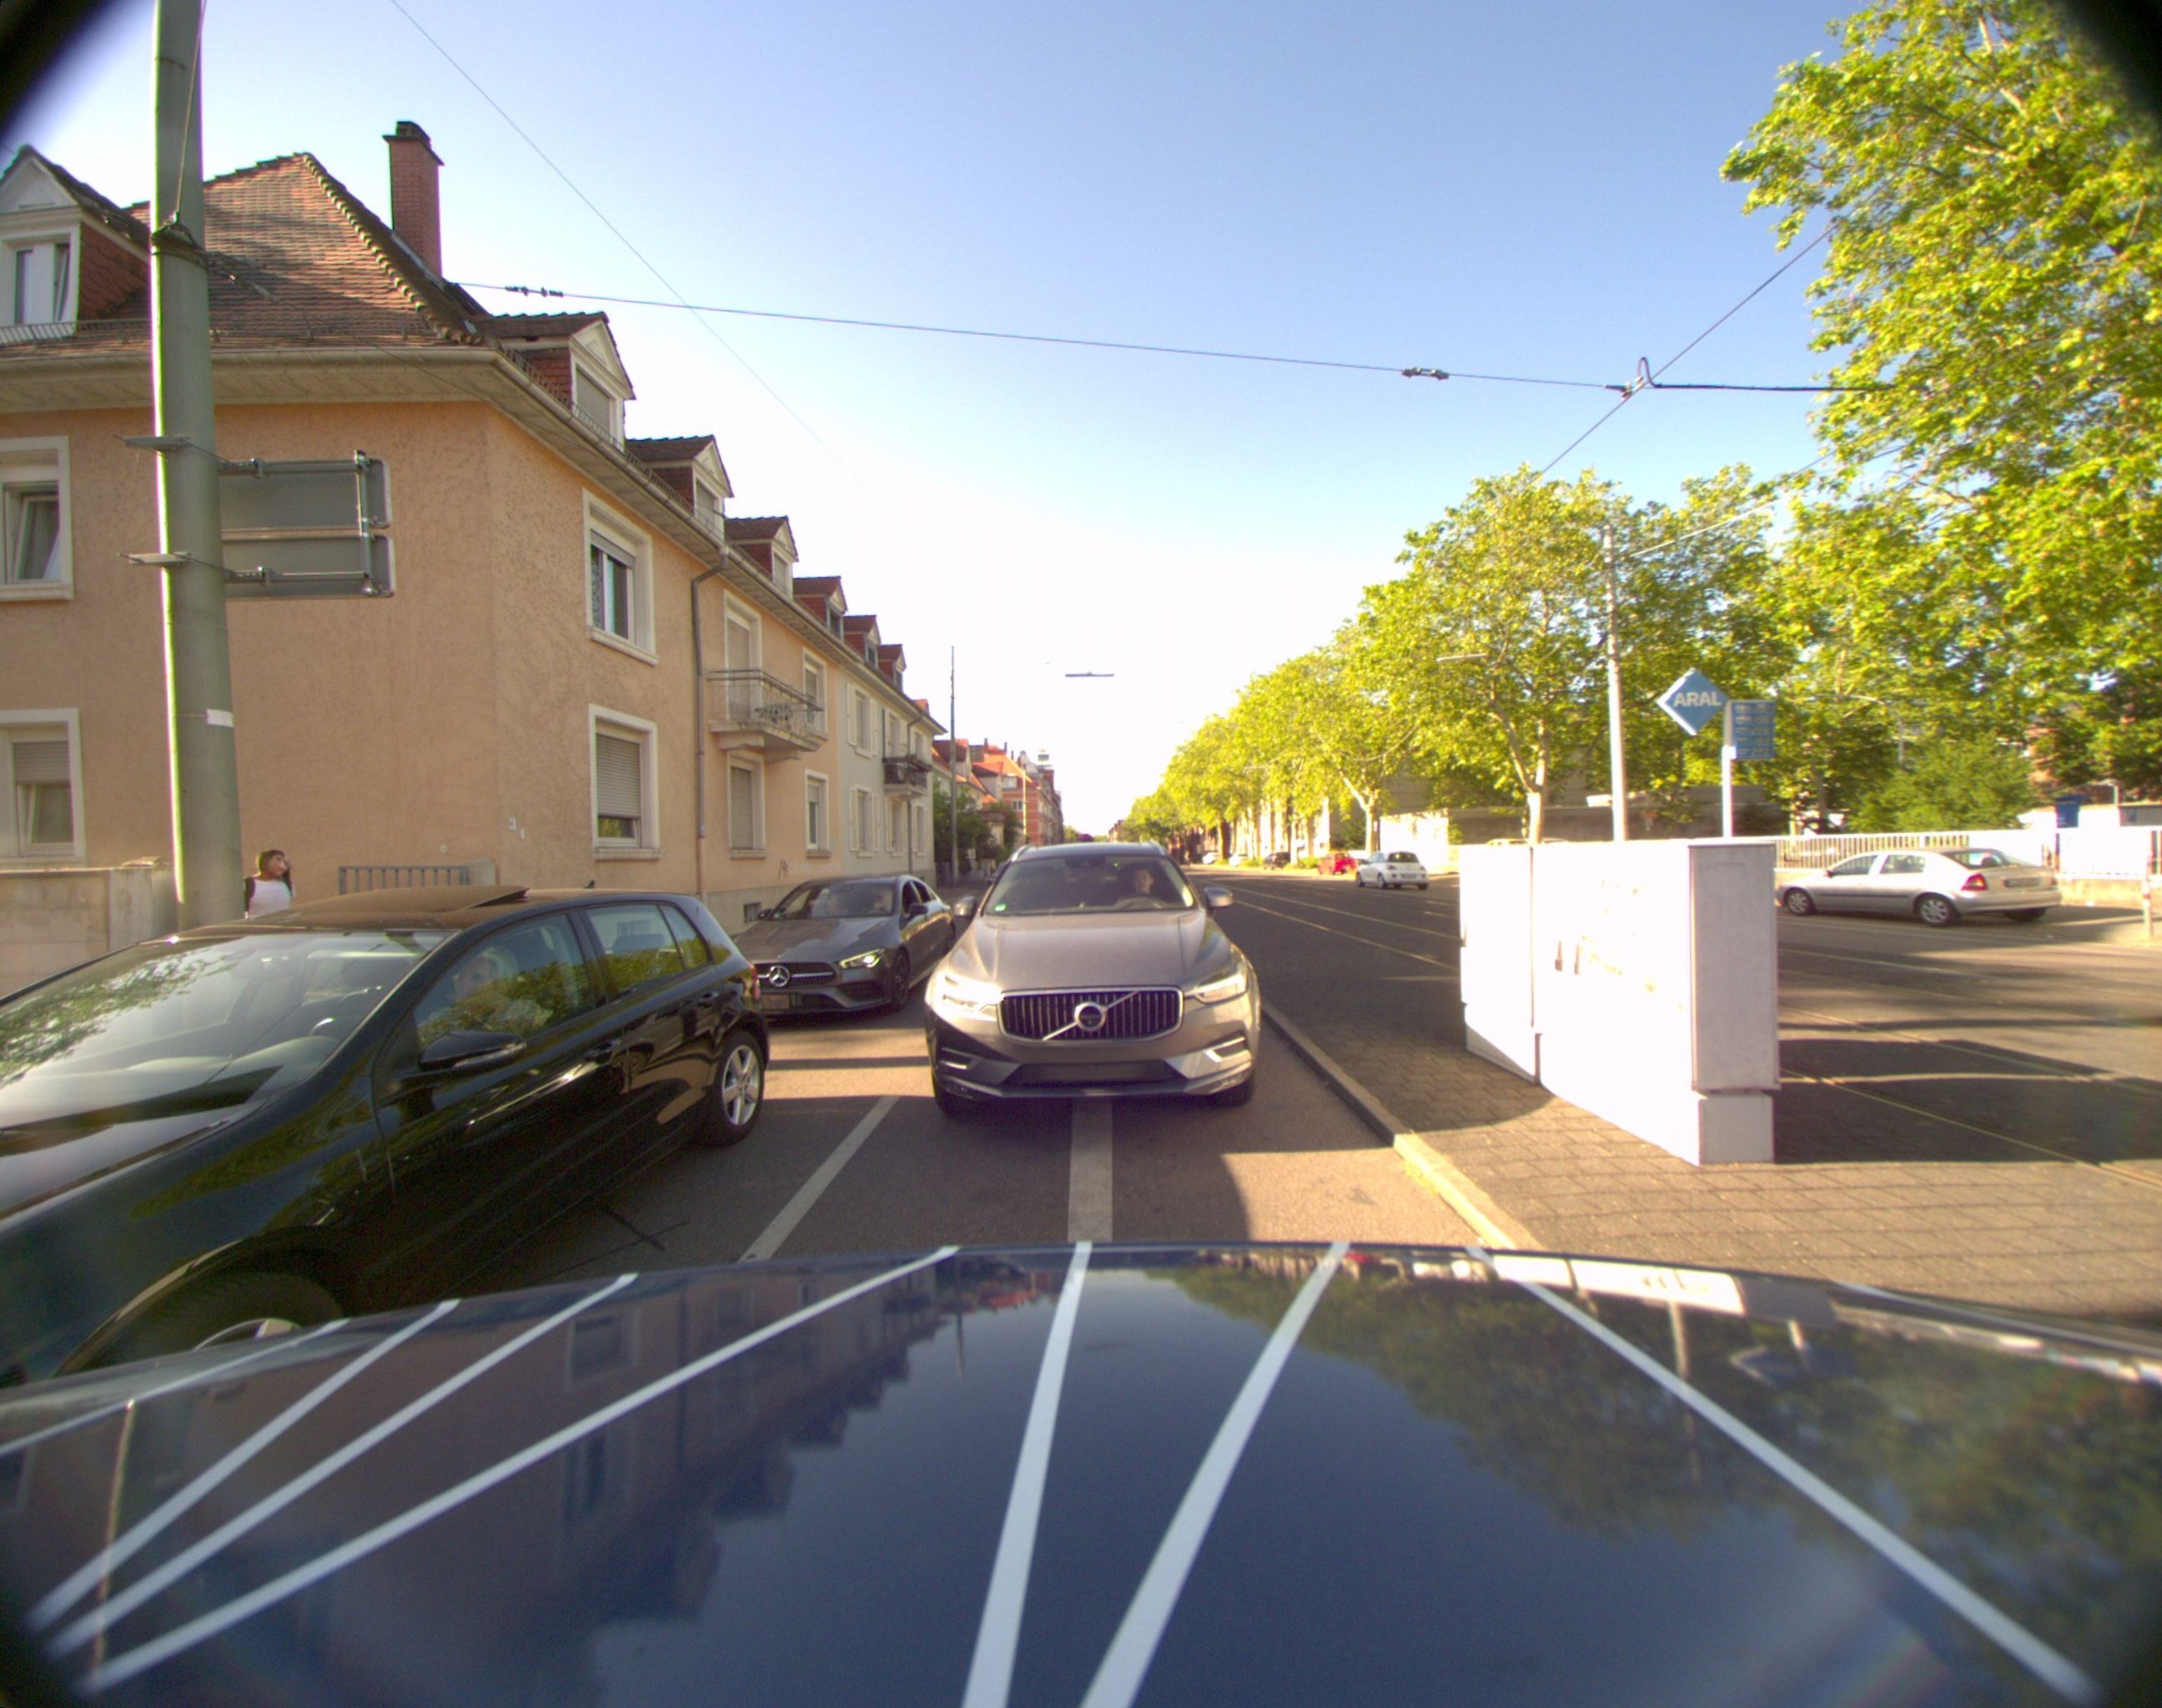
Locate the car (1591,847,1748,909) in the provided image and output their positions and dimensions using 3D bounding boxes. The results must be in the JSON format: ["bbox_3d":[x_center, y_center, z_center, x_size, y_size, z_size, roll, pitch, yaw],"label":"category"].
[{"bbox_3d":[16.349,0.601,21.348,1.619,1.436,3.606,-4,1,3],"label":"car"}]

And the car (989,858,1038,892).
[{"bbox_3d":[-3.230,0.961,37.143,1.825,1.422,4.334,-2,1,1],"label":"car"}]

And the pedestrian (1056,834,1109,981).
[{"bbox_3d":[0.024,0.676,9.905,0.609,1.832,0.599,-2,1,1],"label":"pedestrian"}]

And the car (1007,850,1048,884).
[{"bbox_3d":[-2.906,0.687,42.398,1.825,1.701,4.334,-2,1,1],"label":"car"}]

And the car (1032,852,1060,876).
[{"bbox_3d":[-2.780,0.770,60.917,1.825,1.701,4.334,-2,1,1],"label":"car"}]

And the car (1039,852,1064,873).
[{"bbox_3d":[-2.592,0.692,67.283,1.825,1.701,4.334,-2,1,1],"label":"car"}]

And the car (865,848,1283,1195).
[{"bbox_3d":[0.120,0.797,5.782,1.924,1.579,4.387,-2,1,4],"label":"car"}]

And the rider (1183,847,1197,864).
[{"bbox_3d":[11.217,0.165,78.309,0.727,1.639,1.103,-3,1,-41],"label":"rider"}]

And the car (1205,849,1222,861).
[{"bbox_3d":[17.579,0.097,100.683,1.661,1.452,3.730,-4,1,3],"label":"car"}]

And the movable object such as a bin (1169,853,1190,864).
[{"bbox_3d":[10.280,0.436,79.452,1.181,1.097,1.830,-3,1,-41],"label":"movable object such as a bin"}]

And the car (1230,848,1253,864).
[{"bbox_3d":[17.623,0.242,83.469,1.754,1.532,3.878,-4,1,3],"label":"car"}]

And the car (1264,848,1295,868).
[{"bbox_3d":[17.162,0.322,65.949,1.754,1.582,3.878,-4,1,3],"label":"car"}]

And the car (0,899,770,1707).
[{"bbox_3d":[-2.803,1.043,2.621,1.717,1.430,3.990,-2,1,1],"label":"car"}]

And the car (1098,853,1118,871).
[{"bbox_3d":[2.591,0.755,73.368,1.851,1.640,3.999,-2,1,1],"label":"car"}]

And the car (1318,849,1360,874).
[{"bbox_3d":[16.950,0.464,50.063,1.661,1.486,3.377,-4,1,3],"label":"car"}]

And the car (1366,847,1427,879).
[{"bbox_3d":[16.833,0.447,40.725,1.723,1.436,3.769,-4,1,3],"label":"car"}]

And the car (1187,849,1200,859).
[{"bbox_3d":[18.556,0.055,125.455,1.661,1.452,3.730,-4,1,3],"label":"car"}]

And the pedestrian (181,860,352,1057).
[{"bbox_3d":[-7.102,0.883,6.657,0.760,1.596,0.611,4,1,-2],"label":"pedestrian"}]

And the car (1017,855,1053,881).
[{"bbox_3d":[-2.788,0.842,46.976,1.825,1.424,4.334,-2,1,1],"label":"car"}]

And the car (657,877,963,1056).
[{"bbox_3d":[-2.720,1.049,8.883,1.825,1.422,4.491,-2,-1,1],"label":"car"}]

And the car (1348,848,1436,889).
[{"bbox_3d":[11.813,0.510,29.124,1.742,1.427,3.935,2,1,1],"label":"car"}]

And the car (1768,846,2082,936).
[{"bbox_3d":[16.198,0.629,14.954,1.687,1.358,3.989,-6,0,1],"label":"car"}]
